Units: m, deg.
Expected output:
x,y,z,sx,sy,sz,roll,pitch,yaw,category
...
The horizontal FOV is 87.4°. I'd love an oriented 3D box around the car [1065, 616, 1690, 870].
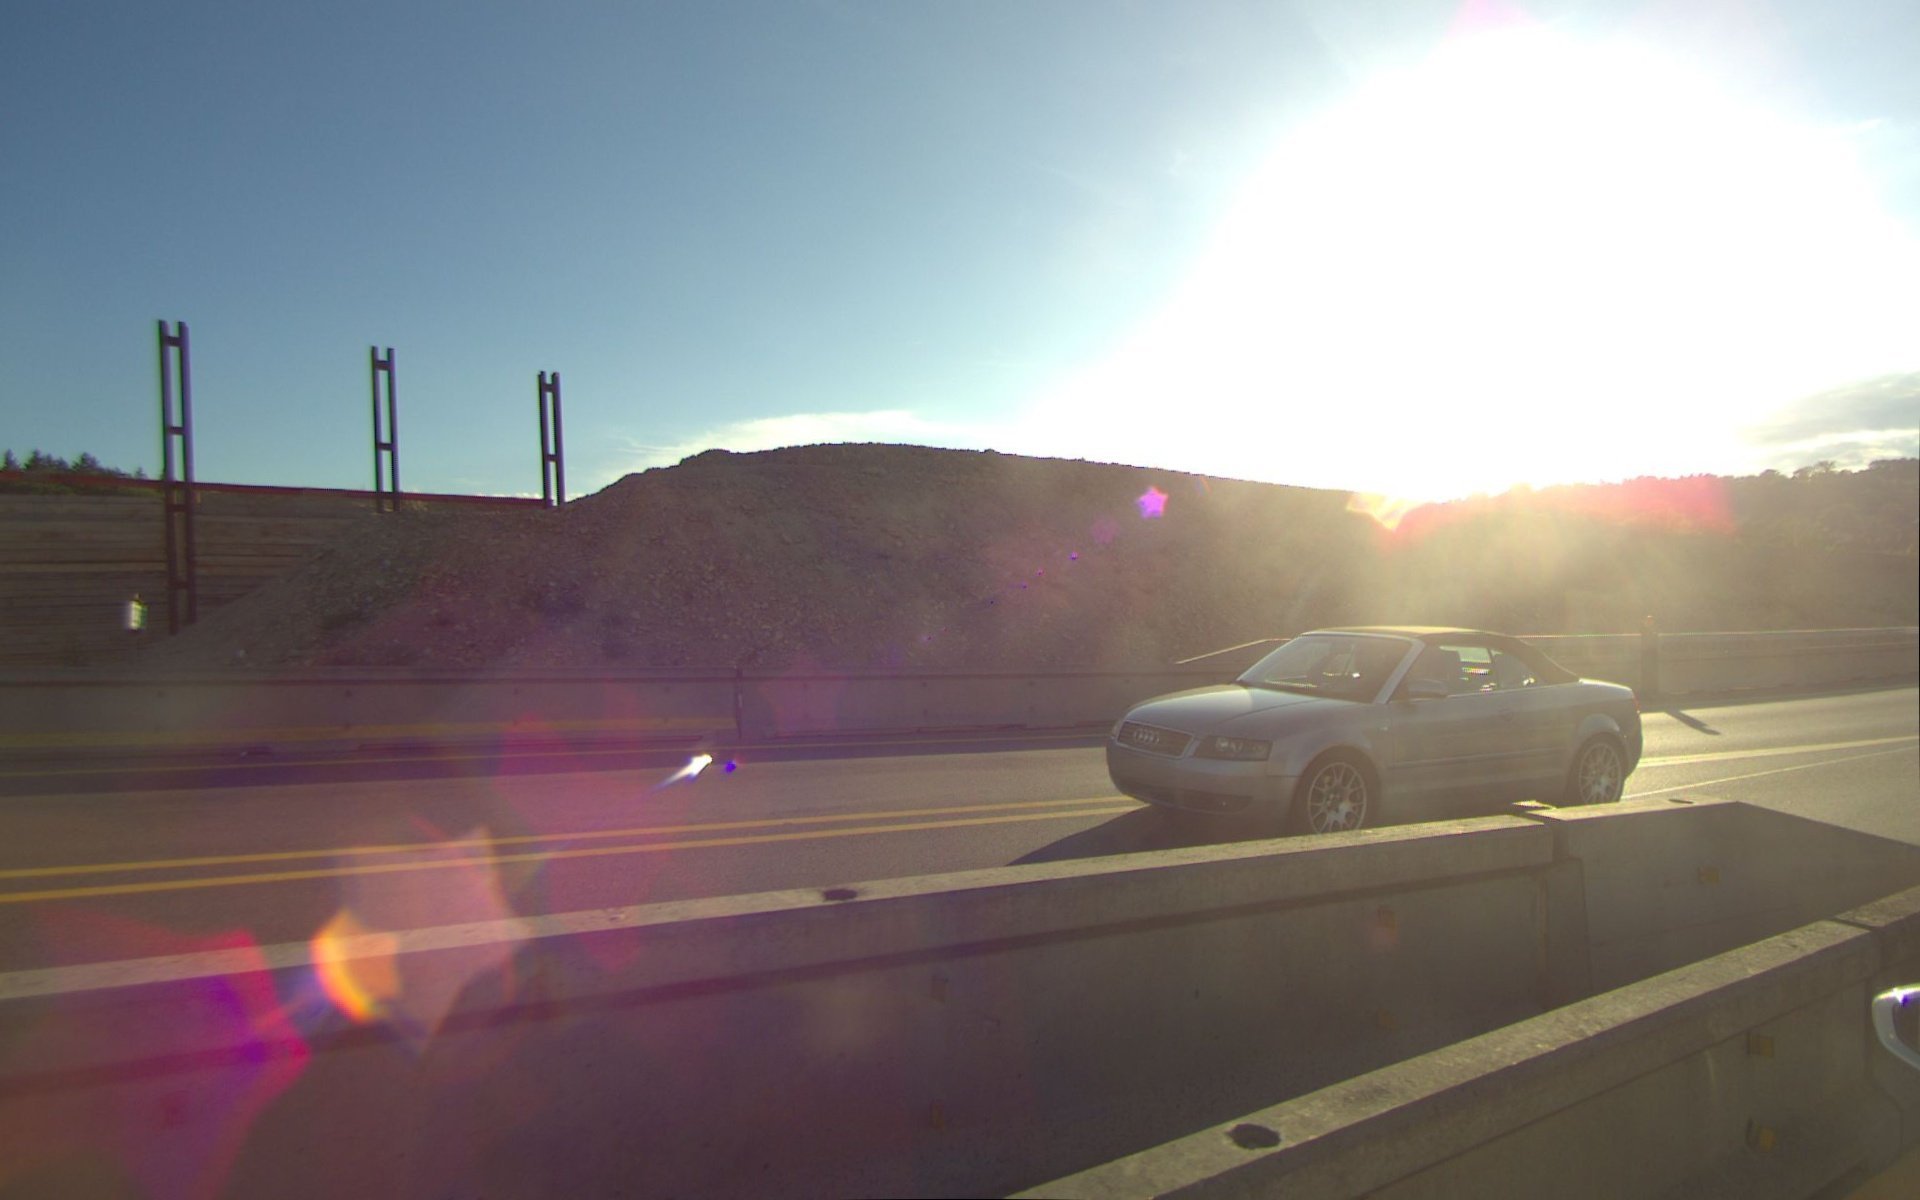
x,y,z,sx,sy,sz,roll,pitch,yaw,category
3.199,0.879,7.509,4.576,1.375,1.782,2,0,-28,car
